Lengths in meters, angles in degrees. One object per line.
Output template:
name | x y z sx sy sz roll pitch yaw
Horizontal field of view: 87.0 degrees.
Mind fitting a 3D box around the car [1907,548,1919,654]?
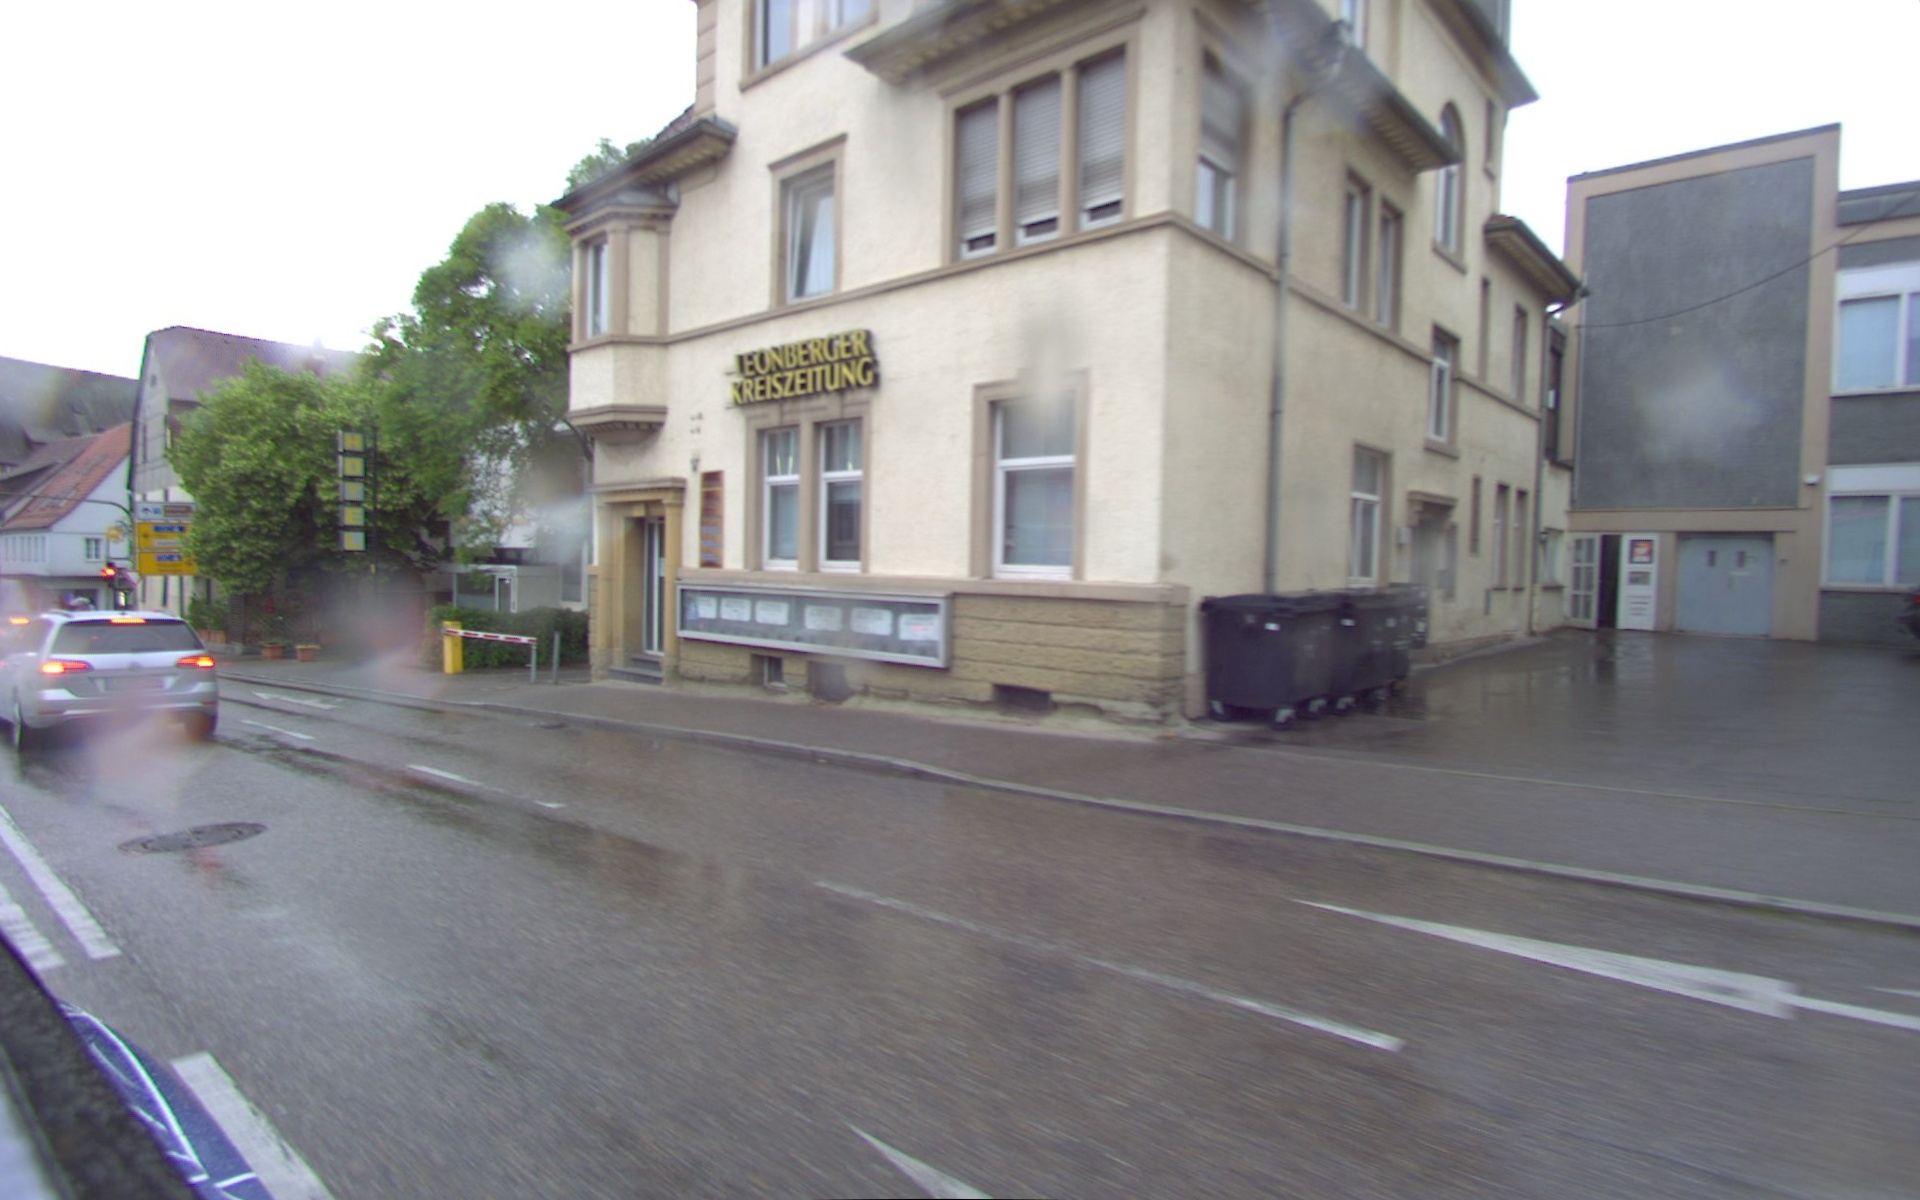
car | 18.191 -0.003 15.824 4.791 1.747 1.973 -1 -2 41

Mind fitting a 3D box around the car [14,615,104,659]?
car | -29.935 1.194 33.597 4.032 1.303 1.828 -1 0 43

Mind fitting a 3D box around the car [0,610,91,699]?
car | -17.593 0.950 18.675 4.688 1.450 1.780 -1 0 42

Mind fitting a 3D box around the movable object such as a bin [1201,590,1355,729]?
movable object such as a bin | 3.218 0.550 10.199 1.050 1.276 1.266 -1 0 41

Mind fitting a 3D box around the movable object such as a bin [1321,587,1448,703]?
movable object such as a bin | 5.067 0.495 12.057 1.050 1.276 1.266 -1 0 41

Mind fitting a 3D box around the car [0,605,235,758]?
car | -10.336 0.826 12.074 4.688 1.450 1.780 -1 0 42

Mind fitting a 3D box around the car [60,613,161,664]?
car | -25.072 1.098 29.827 4.058 1.364 1.719 -1 0 42

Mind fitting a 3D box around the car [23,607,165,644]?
car | -41.445 1.195 48.520 2.000 1.557 4.961 -1 0 43

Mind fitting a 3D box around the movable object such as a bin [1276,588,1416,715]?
movable object such as a bin | 4.226 0.521 11.067 1.050 1.276 1.266 -1 0 41

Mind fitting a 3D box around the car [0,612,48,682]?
car | -22.092 1.033 22.663 5.014 1.451 1.920 -1 0 42
